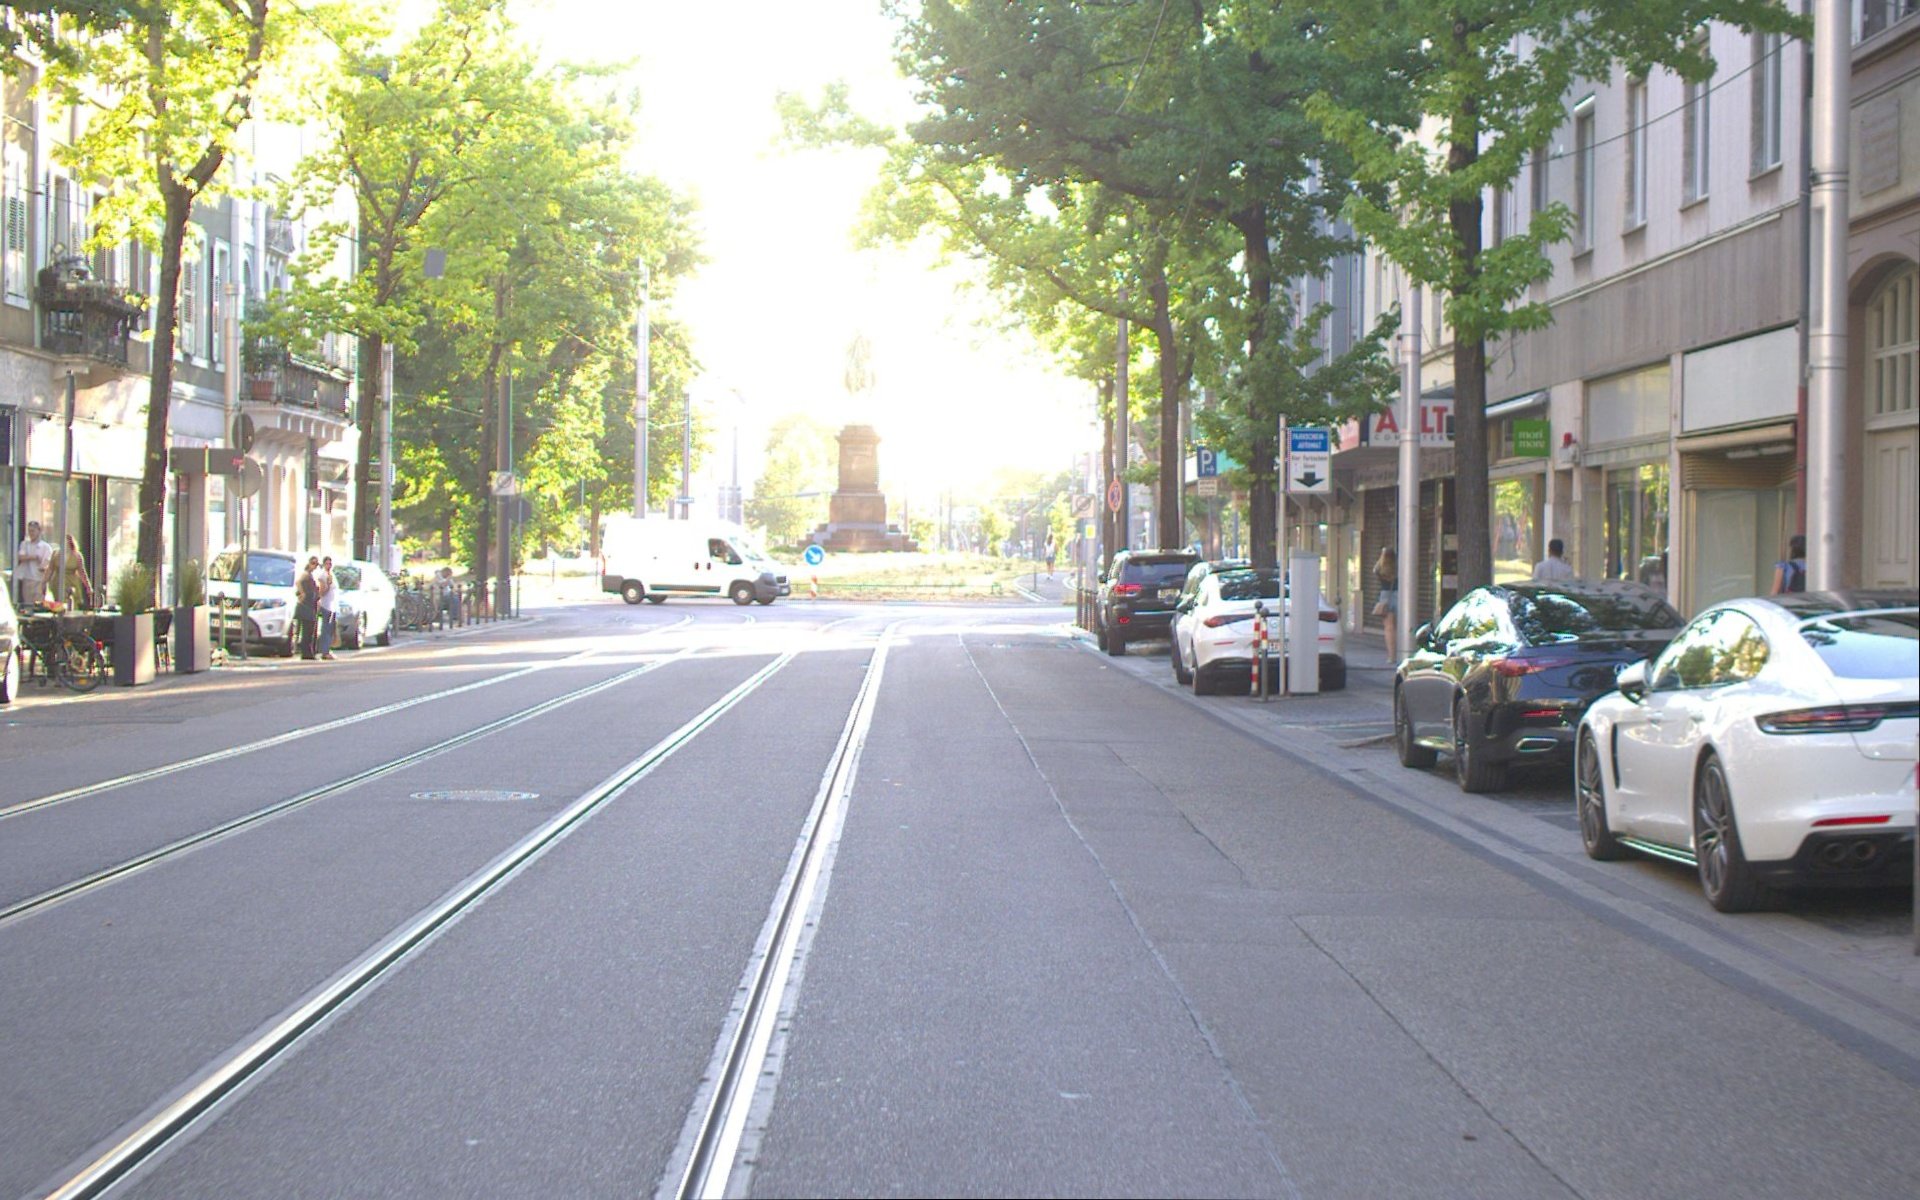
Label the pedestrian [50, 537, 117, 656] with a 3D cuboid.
[{"bbox_3d":[-13.173,-0.058,51.666,0.722,1.754,1.090,1,1,-1],"label":"pedestrian"}]

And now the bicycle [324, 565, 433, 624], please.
[{"bbox_3d":[-11.576,-0.104,68.469,2.023,1.101,0.501,2,0,-26],"label":"bicycle"}]

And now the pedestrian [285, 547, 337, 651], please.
[{"bbox_3d":[-9.551,-0.015,50.577,0.620,1.504,0.729,0,0,0],"label":"pedestrian"}]

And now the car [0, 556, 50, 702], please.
[{"bbox_3d":[-10.329,0.256,33.956,1.665,1.423,3.827,3,1,-1],"label":"car"}]

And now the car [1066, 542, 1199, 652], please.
[{"bbox_3d":[2.967,-0.092,60.122,1.938,1.753,4.680,-3,1,-1],"label":"car"}]

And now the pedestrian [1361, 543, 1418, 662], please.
[{"bbox_3d":[6.169,0.028,49.366,0.643,1.664,0.786,-3,1,-1],"label":"pedestrian"}]

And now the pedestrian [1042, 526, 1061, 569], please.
[{"bbox_3d":[3.435,-1.980,129.049,0.636,1.600,0.771,1,1,4],"label":"pedestrian"}]

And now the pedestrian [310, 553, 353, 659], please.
[{"bbox_3d":[-9.411,0.088,51.461,0.521,1.564,0.634,0,0,0],"label":"pedestrian"}]

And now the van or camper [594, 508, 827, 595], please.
[{"bbox_3d":[-7.322,-1.450,101.070,6.304,2.464,2.614,1,1,16],"label":"van or camper"}]

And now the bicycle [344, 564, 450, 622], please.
[{"bbox_3d":[-11.456,-0.138,69.997,2.024,1.101,0.501,2,0,2],"label":"bicycle"}]

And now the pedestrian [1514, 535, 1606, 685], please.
[{"bbox_3d":[7.235,0.111,41.475,0.858,1.747,0.933,-3,1,-1],"label":"pedestrian"}]

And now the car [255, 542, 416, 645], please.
[{"bbox_3d":[-10.707,-0.144,59.206,1.836,1.575,4.702,4,1,0],"label":"car"}]

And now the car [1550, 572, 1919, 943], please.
[{"bbox_3d":[4.239,0.622,16.470,1.912,1.415,4.888,-2,1,0],"label":"car"}]

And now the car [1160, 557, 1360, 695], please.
[{"bbox_3d":[3.641,0.270,42.447,1.993,1.493,4.680,-3,1,0],"label":"car"}]

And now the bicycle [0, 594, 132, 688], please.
[{"bbox_3d":[-10.087,0.448,38.226,1.616,0.962,0.432,3,1,5],"label":"bicycle"}]

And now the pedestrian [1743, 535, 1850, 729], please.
[{"bbox_3d":[7.361,0.269,30.276,0.658,1.659,0.888,-2,1,-1],"label":"pedestrian"}]

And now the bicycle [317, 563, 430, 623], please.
[{"bbox_3d":[-11.575,-0.143,67.891,2.108,1.101,0.501,2,0,-26],"label":"bicycle"}]

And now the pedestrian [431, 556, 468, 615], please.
[{"bbox_3d":[-11.417,-0.330,76.877,0.728,1.286,0.857,1,1,-3],"label":"pedestrian"}]

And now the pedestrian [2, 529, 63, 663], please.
[{"bbox_3d":[-13.955,-0.065,51.744,0.722,2.007,0.643,1,1,-1],"label":"pedestrian"}]

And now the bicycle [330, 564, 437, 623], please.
[{"bbox_3d":[-11.583,-0.125,69.117,2.023,1.101,0.501,2,0,-26],"label":"bicycle"}]

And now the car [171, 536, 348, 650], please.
[{"bbox_3d":[-10.840,-0.135,53.475,1.836,1.575,4.116,4,1,0],"label":"car"}]

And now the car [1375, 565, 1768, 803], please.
[{"bbox_3d":[4.264,0.521,24.726,1.833,1.473,4.762,-1,1,-1],"label":"car"}]

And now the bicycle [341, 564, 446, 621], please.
[{"bbox_3d":[-11.626,-0.152,70.582,2.024,1.101,0.501,2,0,2],"label":"bicycle"}]
